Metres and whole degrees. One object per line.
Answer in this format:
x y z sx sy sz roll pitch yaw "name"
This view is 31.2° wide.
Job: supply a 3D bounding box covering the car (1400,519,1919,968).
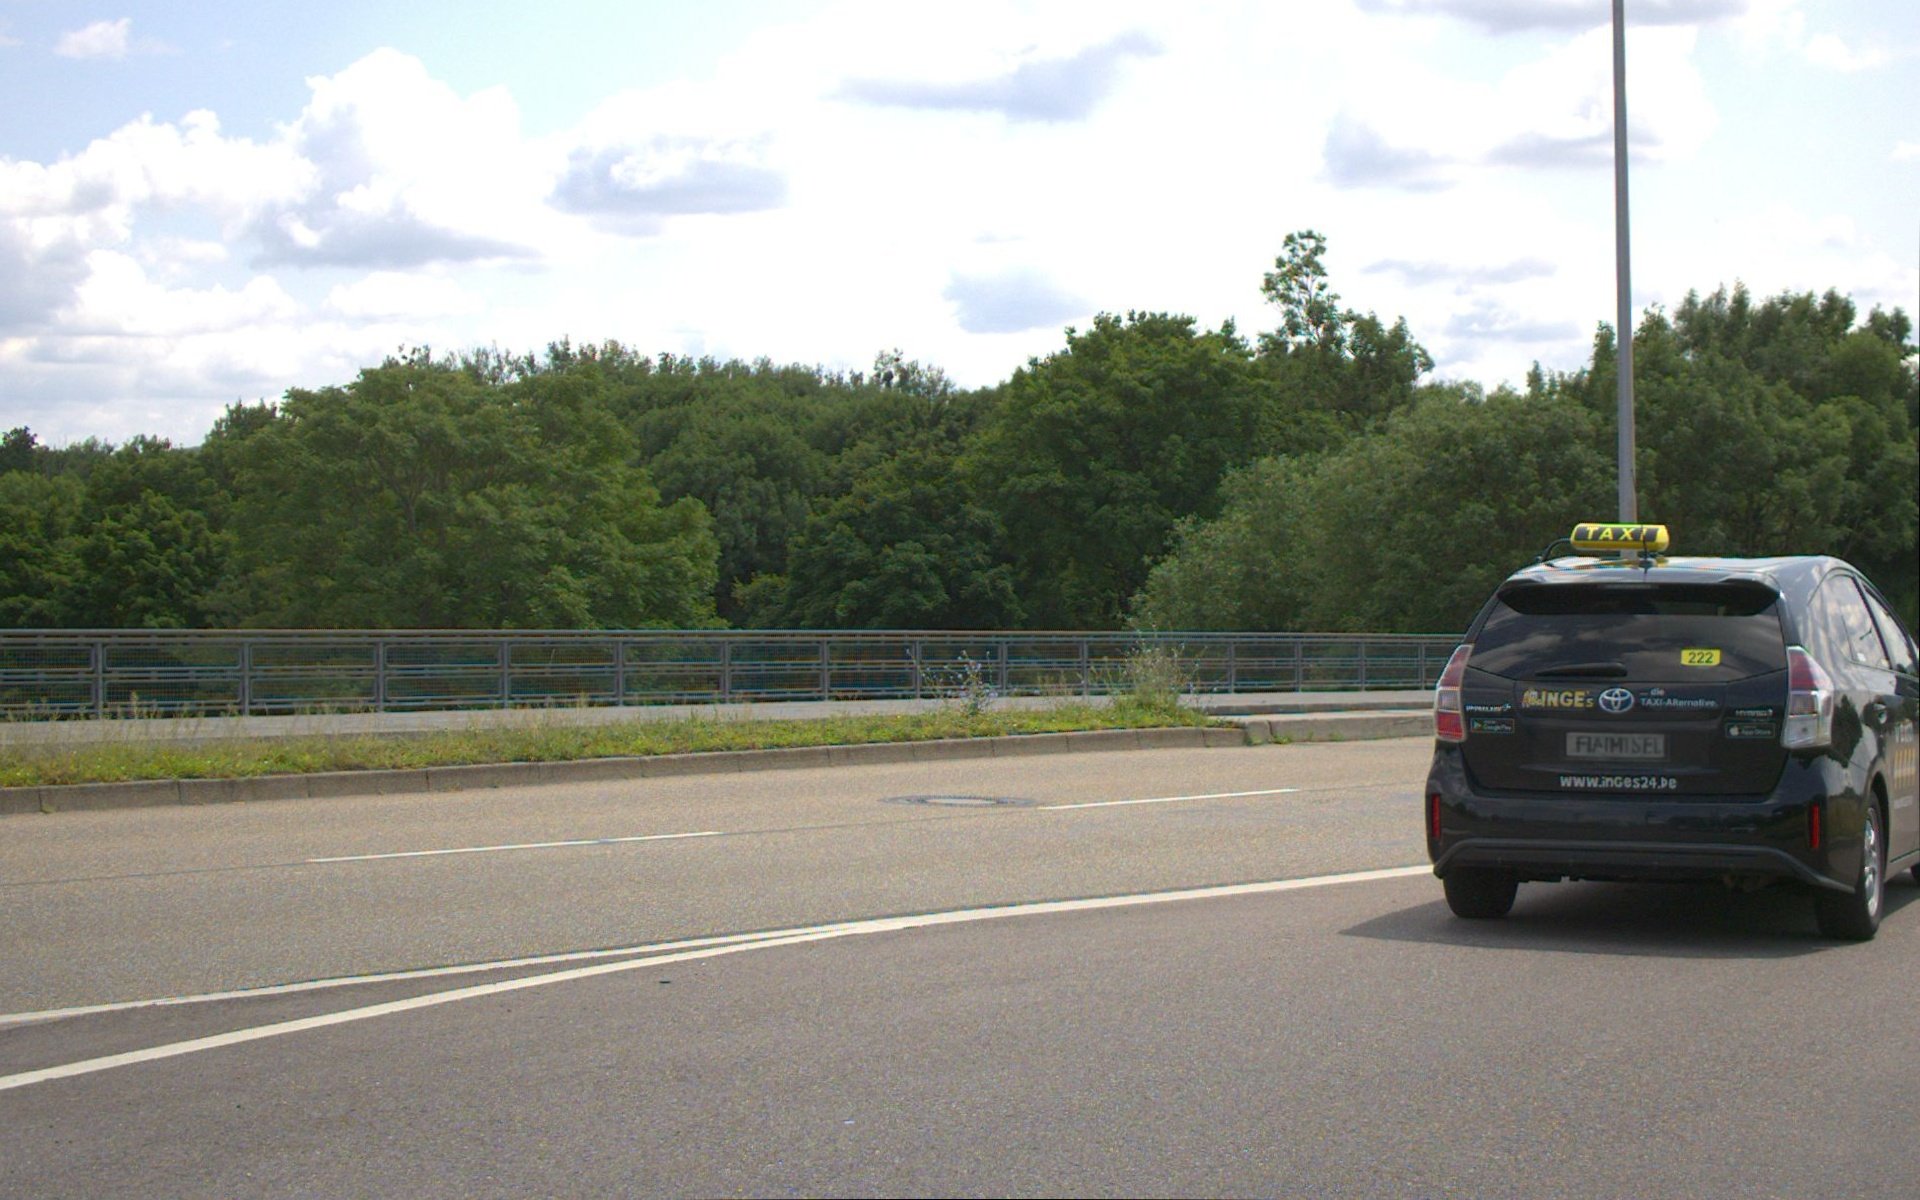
3.356 0.511 15.129 1.781 1.678 3.995 1 1 23 "car"
